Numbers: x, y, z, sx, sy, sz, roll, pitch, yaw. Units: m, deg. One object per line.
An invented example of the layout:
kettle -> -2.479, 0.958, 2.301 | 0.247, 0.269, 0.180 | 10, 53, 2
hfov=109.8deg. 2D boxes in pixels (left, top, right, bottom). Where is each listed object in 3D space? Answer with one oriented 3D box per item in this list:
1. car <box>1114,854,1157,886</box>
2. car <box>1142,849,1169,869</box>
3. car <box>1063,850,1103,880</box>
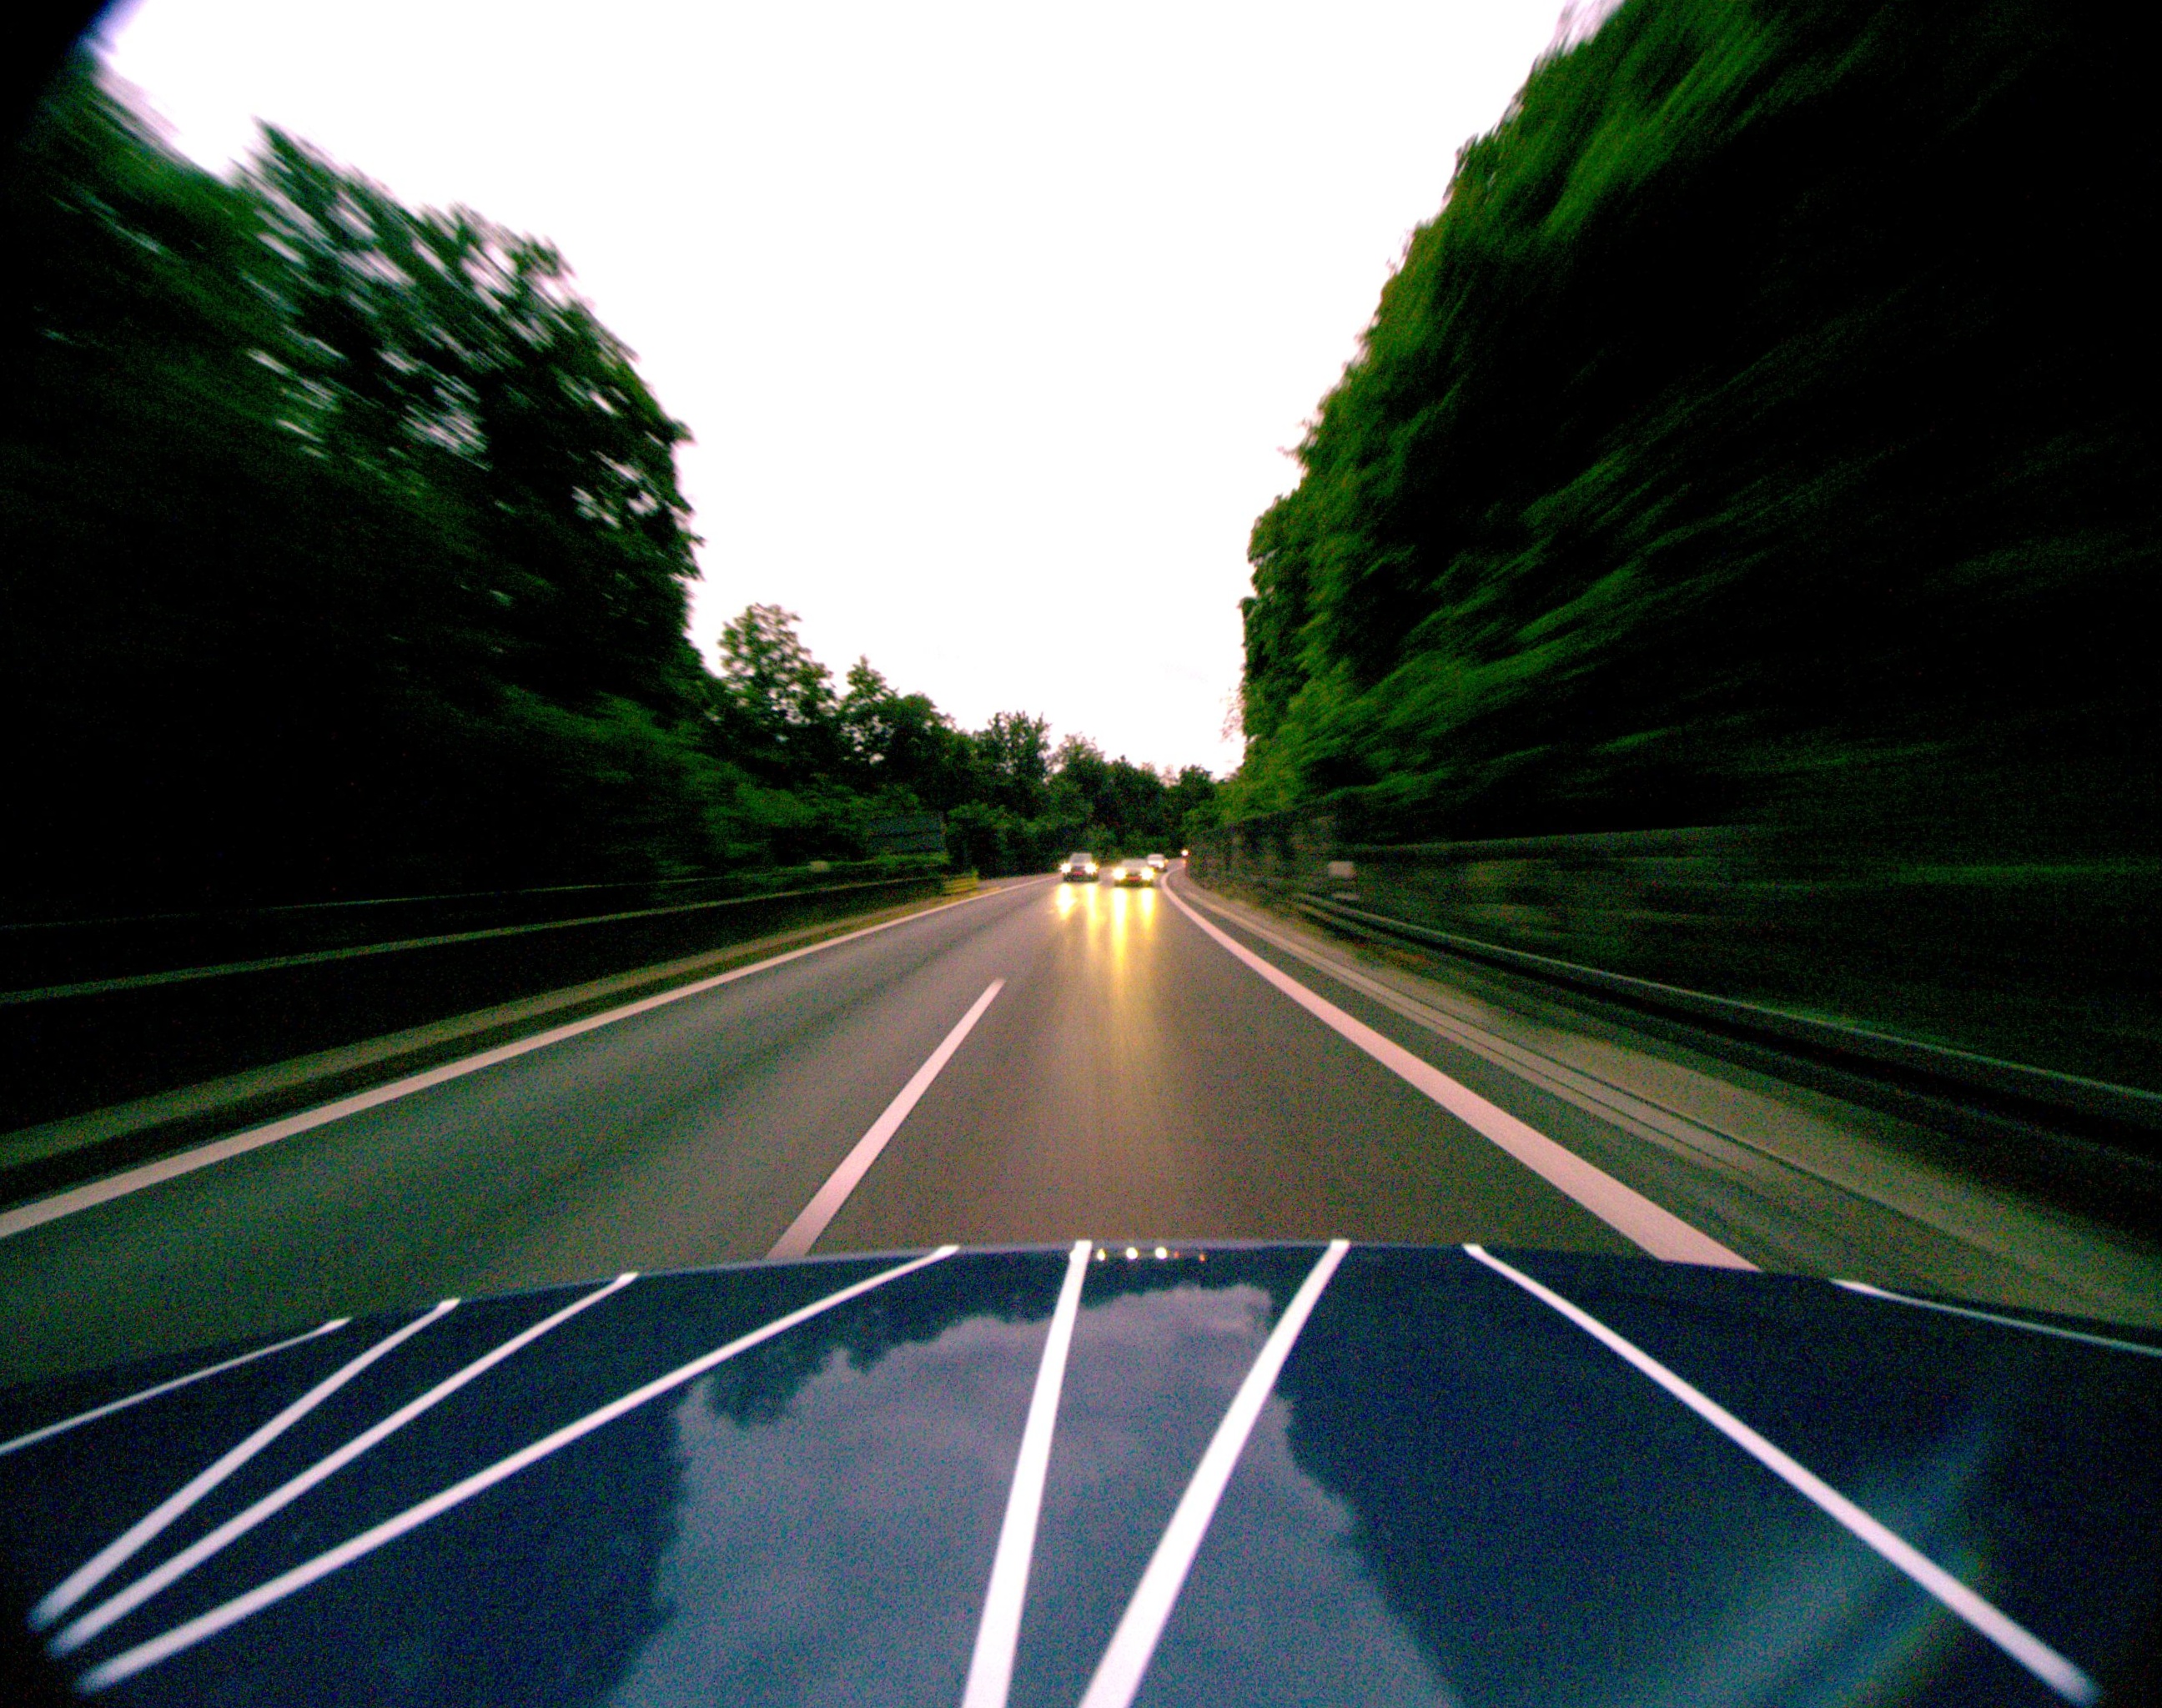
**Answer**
car -> 2.862, 0.783, 39.013 | 1.997, 1.499, 4.002 | 0, 1, 7
car -> 6.450, 0.426, 65.306 | 1.997, 1.499, 4.002 | -2, 1, 10
car -> 0.163, 0.609, 45.726 | 1.997, 1.631, 4.001 | 1, 2, 6
